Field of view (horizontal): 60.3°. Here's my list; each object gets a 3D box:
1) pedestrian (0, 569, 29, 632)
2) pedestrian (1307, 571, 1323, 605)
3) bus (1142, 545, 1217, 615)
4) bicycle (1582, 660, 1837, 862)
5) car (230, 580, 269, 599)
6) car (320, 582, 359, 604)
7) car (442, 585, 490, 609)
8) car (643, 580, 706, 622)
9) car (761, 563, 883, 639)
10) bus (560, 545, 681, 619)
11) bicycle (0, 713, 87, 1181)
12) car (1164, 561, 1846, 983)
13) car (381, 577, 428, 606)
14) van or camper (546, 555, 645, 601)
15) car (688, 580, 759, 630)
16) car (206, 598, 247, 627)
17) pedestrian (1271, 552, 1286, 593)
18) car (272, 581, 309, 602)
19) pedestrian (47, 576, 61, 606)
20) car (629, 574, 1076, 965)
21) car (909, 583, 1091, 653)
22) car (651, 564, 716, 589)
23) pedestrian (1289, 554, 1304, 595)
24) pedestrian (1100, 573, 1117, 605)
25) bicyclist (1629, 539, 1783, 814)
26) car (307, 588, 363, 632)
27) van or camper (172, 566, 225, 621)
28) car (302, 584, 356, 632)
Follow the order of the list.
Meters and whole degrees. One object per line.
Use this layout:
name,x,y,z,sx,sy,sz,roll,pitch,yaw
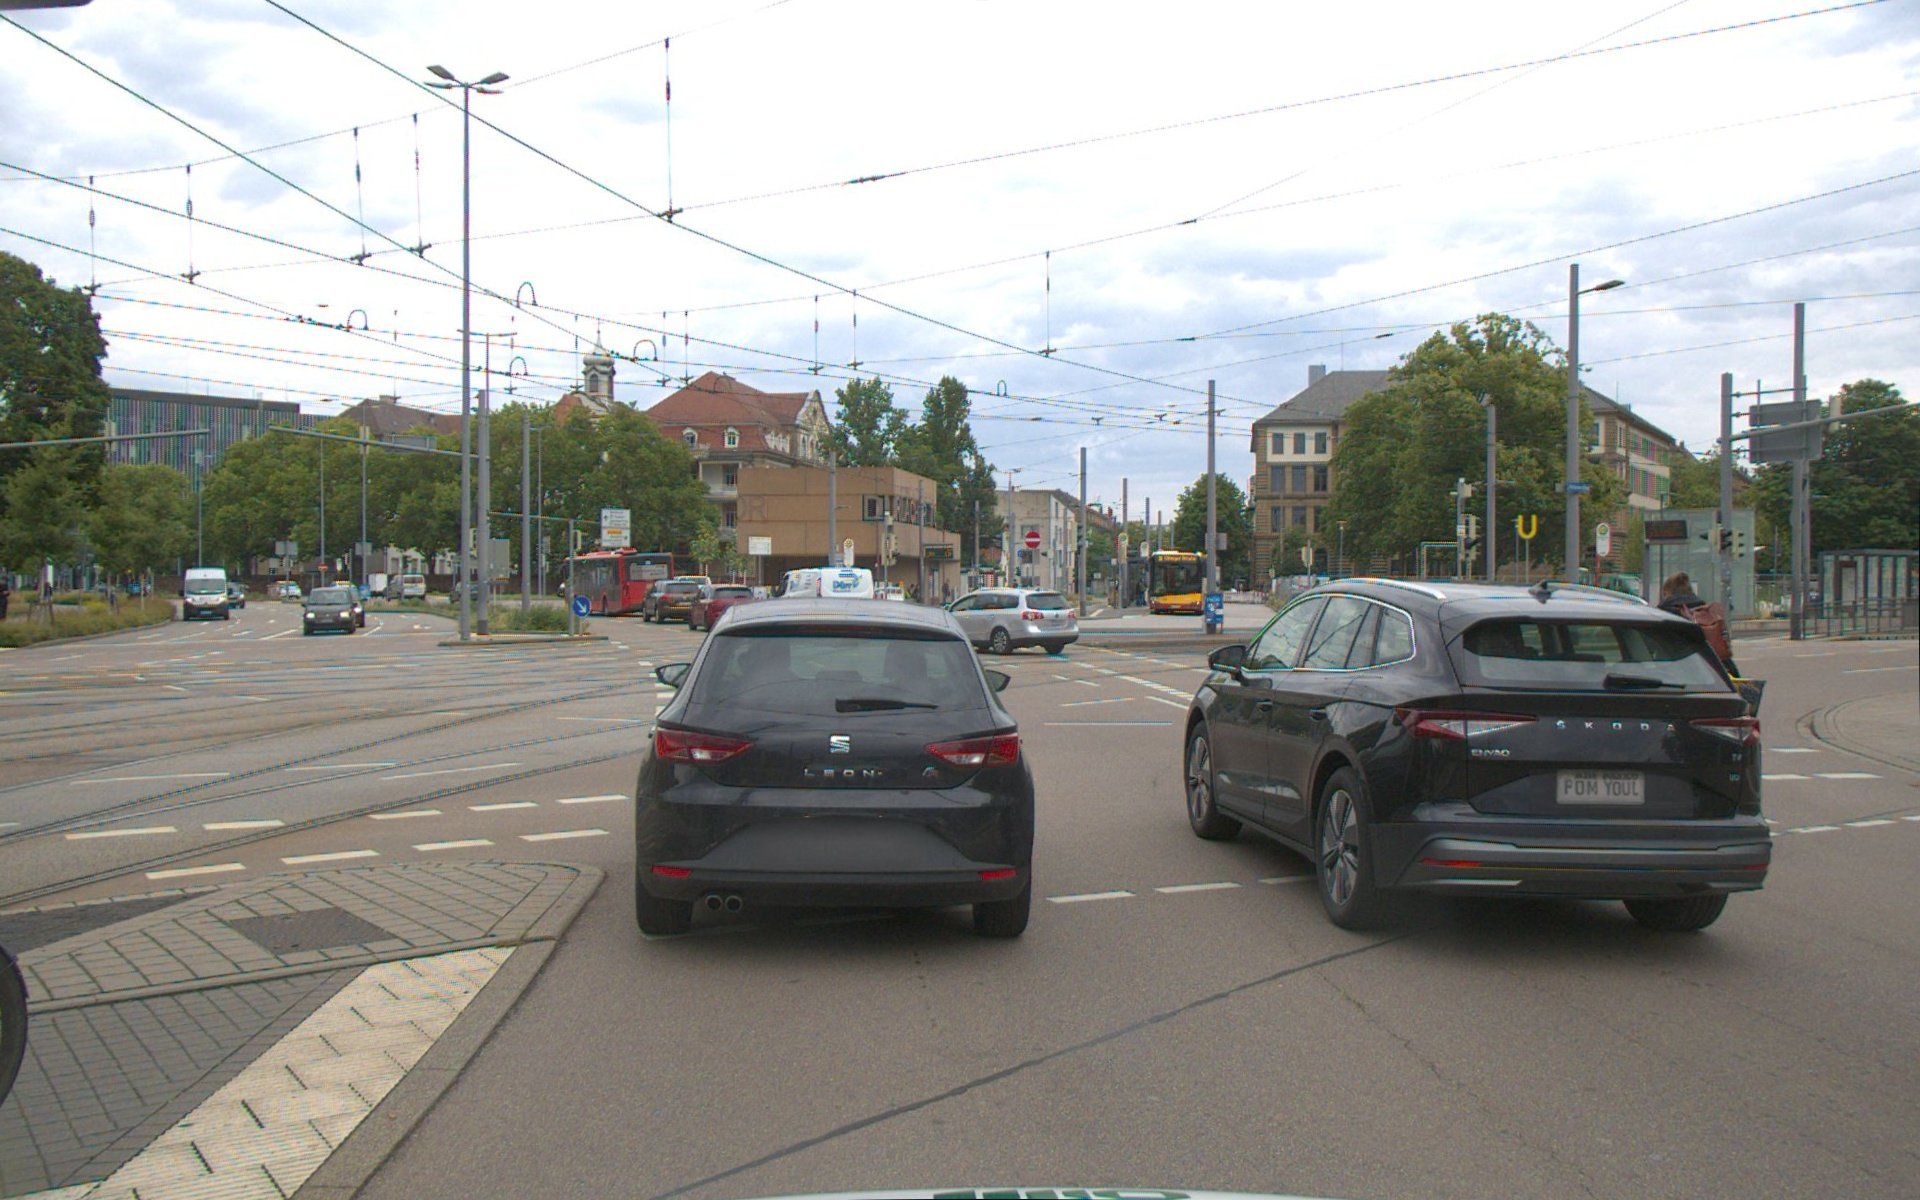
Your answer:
pedestrian,-30.615,0.023,53.388,0.805,2.015,0.656,-1,1,-16
pedestrian,19.794,-0.681,92.254,0.806,1.886,1.022,0,0,15
bus,11.386,-1.017,84.840,2.952,3.325,13.054,0,1,11
bicycle,4.823,0.988,10.816,0.612,1.073,2.125,0,1,-3
car,-66.592,-0.974,155.013,3.933,1.780,1.986,0,1,45
car,-50.641,-0.566,134.942,1.979,1.780,3.947,0,1,-37
car,-32.359,-0.224,108.313,1.976,1.566,3.953,0,1,-34
car,-11.408,0.013,65.963,1.962,1.593,4.185,0,1,-17
car,-4.056,-0.002,47.689,1.968,2.054,4.993,0,1,-24
bus,-16.827,-0.846,81.122,3.020,3.355,12.279,0,0,-25
bicycle,-2.941,0.862,3.779,1.600,1.088,0.520,-1,0,-41
car,2.517,0.660,8.975,1.866,1.687,4.510,0,1,-6
car,-40.559,-0.624,120.714,1.981,2.049,3.943,0,1,-40
van or camper,-28.180,-1.686,128.007,2.828,3.390,7.103,-2,0,44
car,-8.099,0.125,56.436,1.828,1.628,4.186,0,1,-16
car,-47.793,0.804,107.754,1.852,1.755,4.662,-2,1,-31
pedestrian,33.505,-2.892,173.887,1.358,4.328,1.346,0,0,-1
car,-55.571,-0.732,137.208,1.978,1.668,3.948,-1,1,-36
pedestrian,-47.793,-0.465,87.251,0.554,1.568,0.749,0,0,-25
car,-0.615,0.630,8.377,1.712,1.489,3.995,1,1,-6
car,0.866,0.383,38.783,1.710,1.508,4.562,-2,1,-40
car,-22.355,-1.879,133.843,1.966,1.897,4.970,-4,-2,44
pedestrian,35.287,-2.697,173.617,1.280,4.328,1.346,0,0,-1
pedestrian,8.450,-0.634,94.331,0.806,1.840,1.022,0,0,15
bicyclist,4.829,0.469,10.752,0.603,1.720,0.805,0,1,-3
car,-23.849,0.348,63.210,1.843,1.534,4.453,-3,1,-20
van or camper,-37.635,-0.340,81.804,2.250,2.571,5.530,-1,1,-25
car,-21.188,0.242,55.626,1.594,1.542,3.644,-1,1,-20
